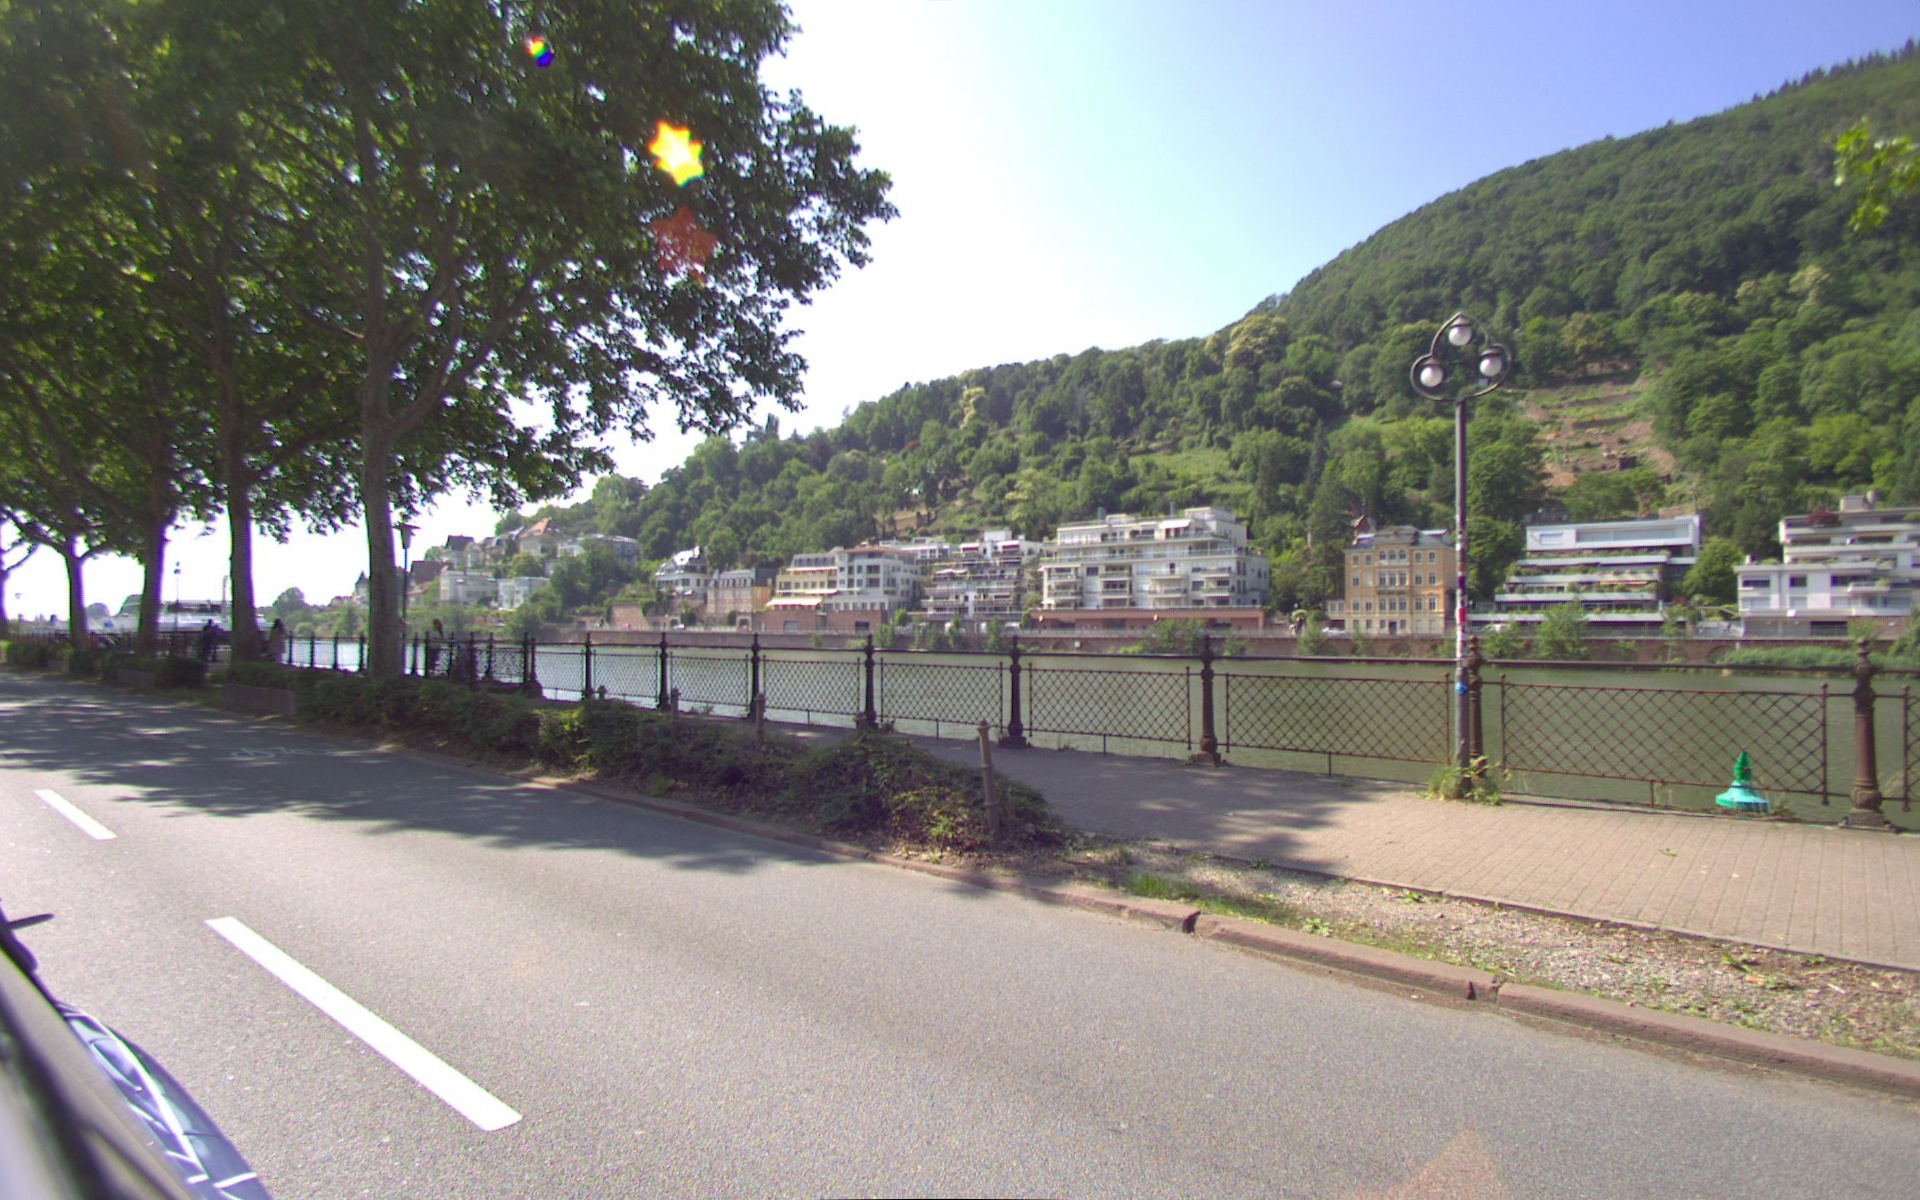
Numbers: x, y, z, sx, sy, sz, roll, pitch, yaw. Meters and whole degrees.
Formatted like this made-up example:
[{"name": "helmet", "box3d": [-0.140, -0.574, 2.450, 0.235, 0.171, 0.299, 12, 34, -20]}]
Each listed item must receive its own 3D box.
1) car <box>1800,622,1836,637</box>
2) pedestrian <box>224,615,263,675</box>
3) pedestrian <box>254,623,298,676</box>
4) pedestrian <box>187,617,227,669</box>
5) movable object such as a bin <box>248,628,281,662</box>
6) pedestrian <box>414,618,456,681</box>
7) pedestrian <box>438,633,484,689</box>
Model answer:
[{"name": "car", "box3d": [125.338, 4.298, 147.879, 3.998, 2.029, 1.973, -2, -1, 41]}, {"name": "pedestrian", "box3d": [-22.681, 1.402, 32.027, 0.928, 1.863, 0.796, -1, 0, 41]}, {"name": "pedestrian", "box3d": [-21.847, 1.564, 32.328, 1.057, 1.647, 0.887, -1, 0, 37]}, {"name": "pedestrian", "box3d": [-30.407, 1.728, 40.879, 1.032, 2.029, 1.038, -1, 0, -19]}, {"name": "movable object such as a bin", "box3d": [-22.599, 1.461, 32.882, 0.782, 1.057, 0.695, -1, 0, 37]}, {"name": "pedestrian", "box3d": [-15.035, 1.428, 28.991, 0.829, 1.771, 0.767, -2, -4, 40]}, {"name": "pedestrian", "box3d": [-12.730, 1.548, 25.823, 0.770, 1.398, 0.758, -2, -3, 40]}]
